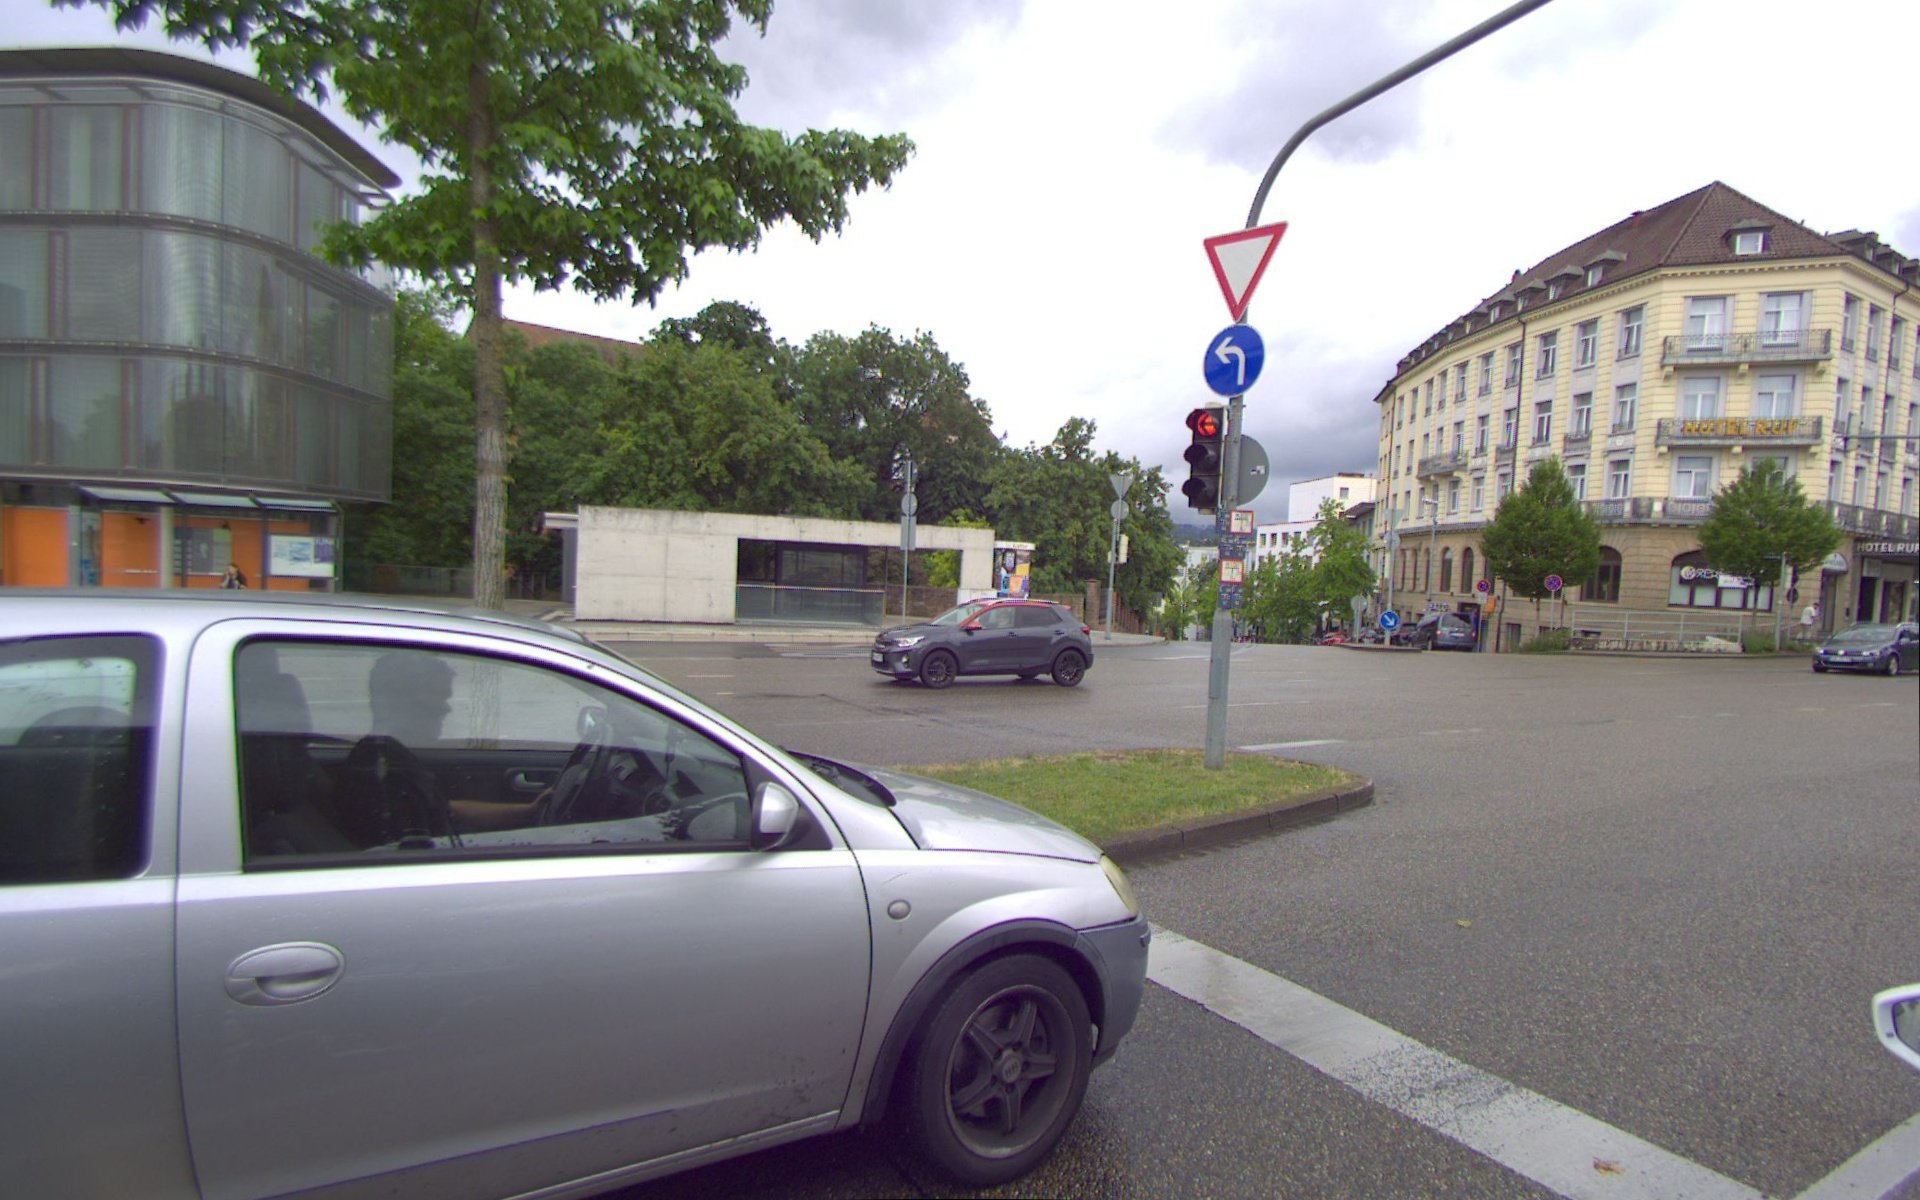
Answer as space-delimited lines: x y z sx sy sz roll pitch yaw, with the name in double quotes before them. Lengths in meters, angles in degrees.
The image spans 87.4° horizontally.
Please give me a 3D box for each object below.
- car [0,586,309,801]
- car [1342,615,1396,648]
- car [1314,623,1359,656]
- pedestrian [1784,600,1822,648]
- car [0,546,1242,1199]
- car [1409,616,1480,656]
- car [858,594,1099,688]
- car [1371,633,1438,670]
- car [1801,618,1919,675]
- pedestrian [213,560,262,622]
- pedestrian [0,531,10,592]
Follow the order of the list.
"car" -7.494 0.601 7.018 4.801 1.400 1.716 2 1 -30
"car" 23.158 1.765 56.998 1.757 1.662 3.916 2 1 6
"car" 23.581 2.469 63.053 1.741 1.836 3.624 2 1 7
"pedestrian" 34.415 0.990 41.005 1.010 1.903 0.859 1 1 -30
"car" -1.209 0.658 2.514 3.695 1.478 1.614 2 1 -32
"car" 21.730 1.569 45.193 1.764 1.589 4.002 2 1 9
"car" 0.333 0.714 17.906 3.971 1.496 1.626 2 1 -25
"car" 22.782 2.598 51.650 1.959 1.662 4.002 2 0 6
"car" 26.199 1.293 28.840 4.008 1.460 1.748 1 1 -28
"pedestrian" -16.089 -0.199 22.386 0.780 1.341 0.798 1 1 -28
"pedestrian" -26.594 -1.060 27.346 0.834 1.675 0.708 2 1 13
